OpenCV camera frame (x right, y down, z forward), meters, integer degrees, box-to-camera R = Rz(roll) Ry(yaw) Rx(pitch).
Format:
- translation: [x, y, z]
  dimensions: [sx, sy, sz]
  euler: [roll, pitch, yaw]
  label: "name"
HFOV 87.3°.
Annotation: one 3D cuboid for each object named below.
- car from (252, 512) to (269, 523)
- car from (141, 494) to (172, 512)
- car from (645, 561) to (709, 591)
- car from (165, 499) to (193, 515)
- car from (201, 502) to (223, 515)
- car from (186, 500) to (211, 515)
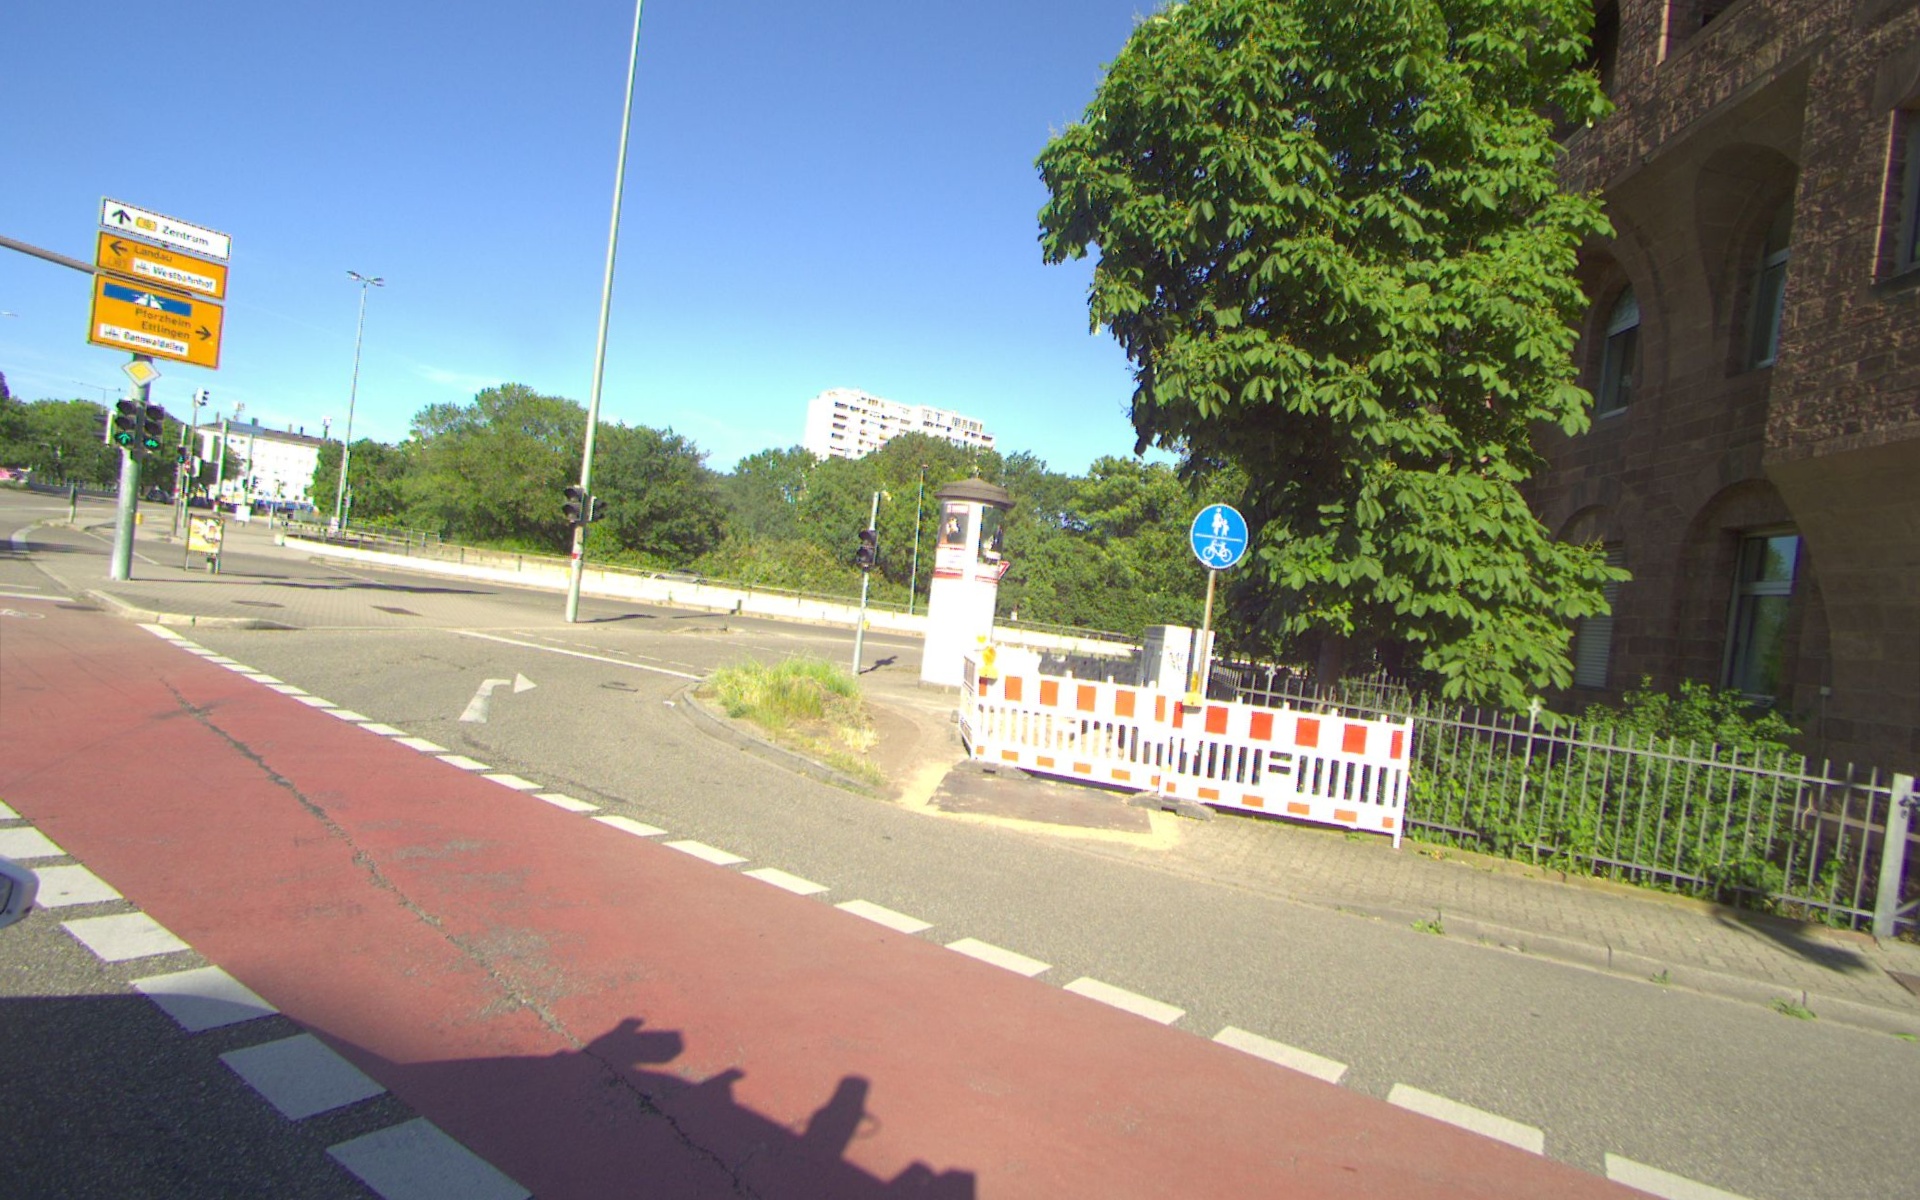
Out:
- translation: [-121.099, -14.223, 174.125]
  dimensions: [1.930, 1.547, 4.065]
  euler: [7, 0, -29]
  label: "car"
- translation: [-86.660, -10.415, 108.527]
  dimensions: [1.931, 1.547, 4.064]
  euler: [7, 0, -30]
  label: "car"
- translation: [-20.351, -1.712, 72.350]
  dimensions: [4.186, 1.571, 1.852]
  euler: [8, 1, -21]
  label: "car"
- translation: [-92.800, -11.066, 119.511]
  dimensions: [1.930, 1.547, 4.065]
  euler: [7, 0, -30]
  label: "car"
- translation: [-108.272, -13.233, 145.731]
  dimensions: [1.930, 1.547, 4.065]
  euler: [7, 0, -30]
  label: "car"
- translation: [-102.642, -12.452, 135.605]
  dimensions: [1.930, 1.547, 4.065]
  euler: [7, 0, -29]
  label: "car"
